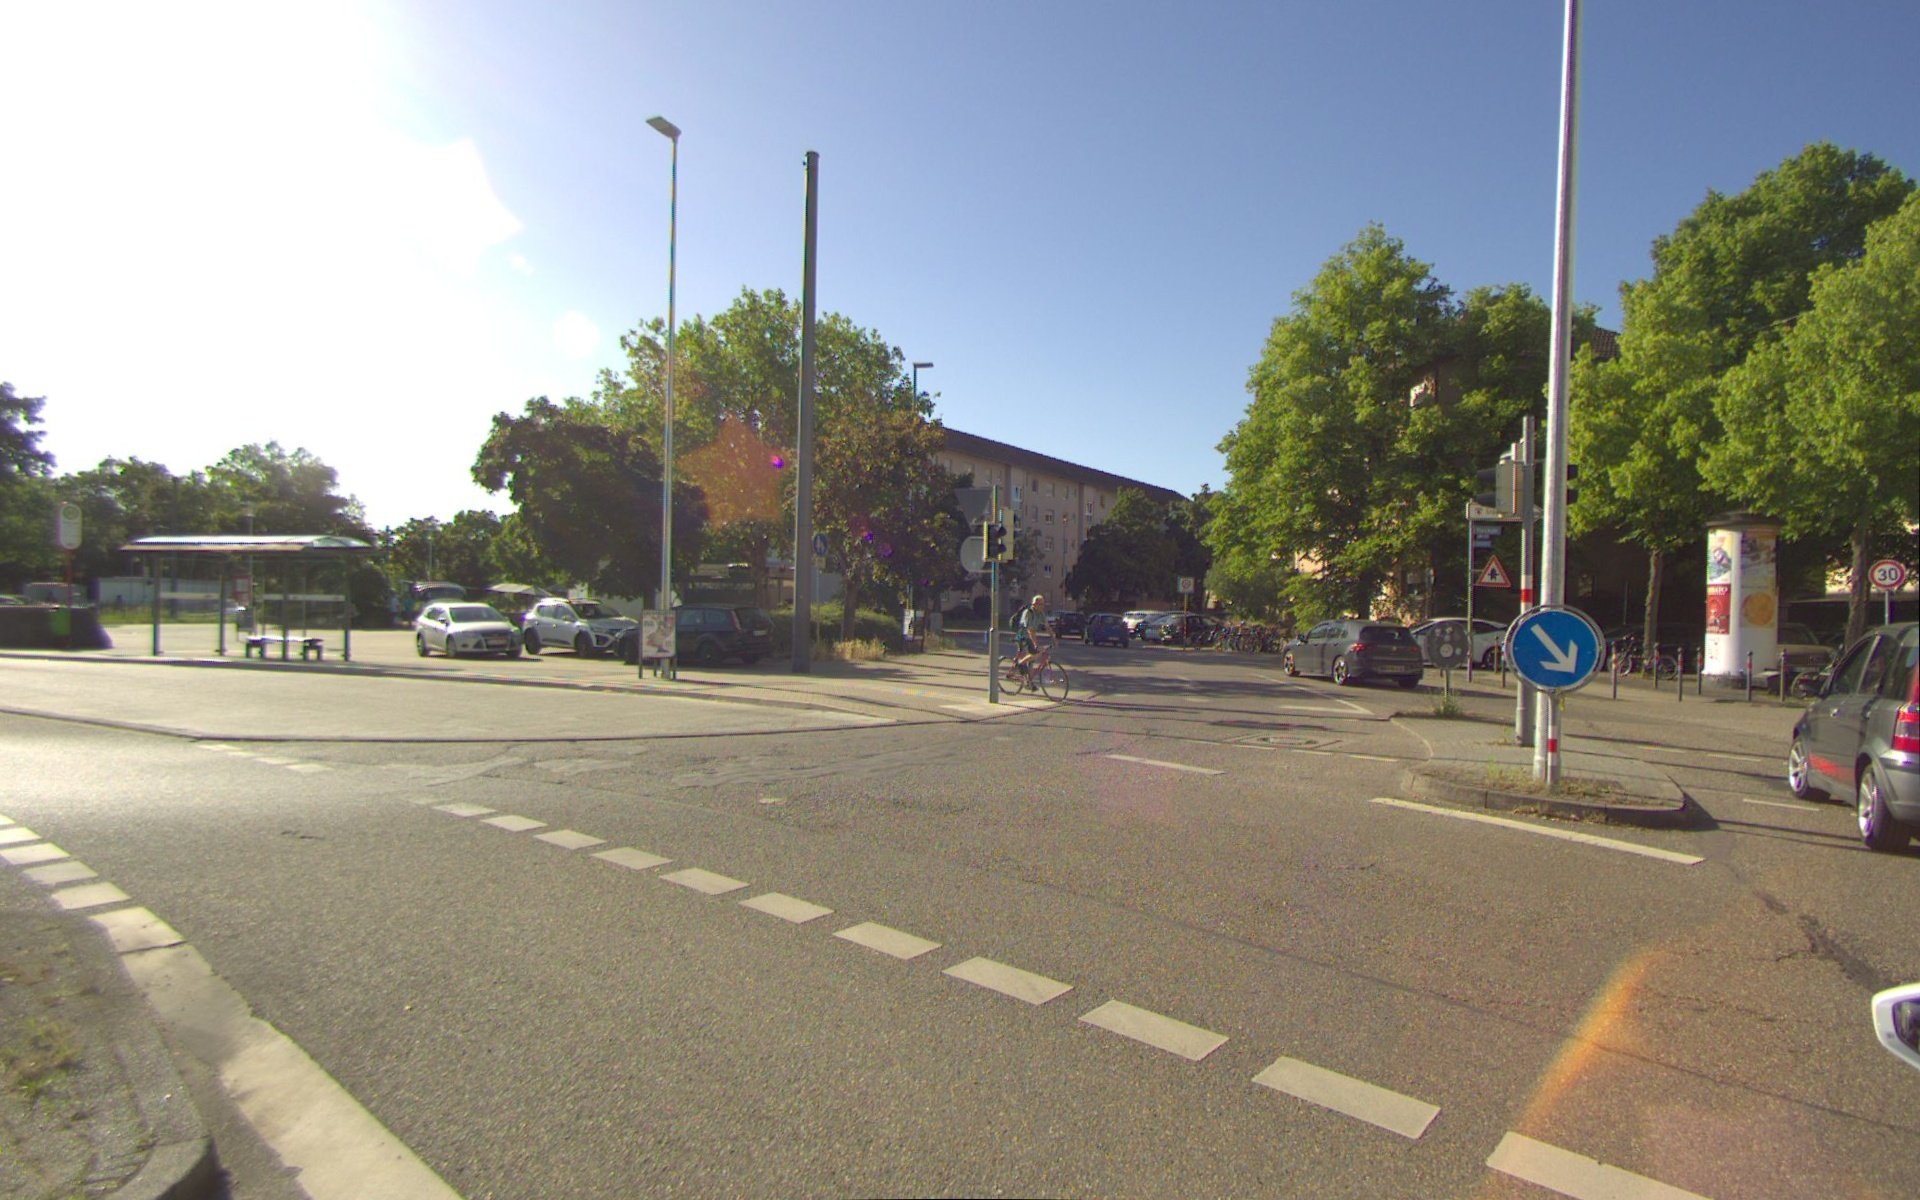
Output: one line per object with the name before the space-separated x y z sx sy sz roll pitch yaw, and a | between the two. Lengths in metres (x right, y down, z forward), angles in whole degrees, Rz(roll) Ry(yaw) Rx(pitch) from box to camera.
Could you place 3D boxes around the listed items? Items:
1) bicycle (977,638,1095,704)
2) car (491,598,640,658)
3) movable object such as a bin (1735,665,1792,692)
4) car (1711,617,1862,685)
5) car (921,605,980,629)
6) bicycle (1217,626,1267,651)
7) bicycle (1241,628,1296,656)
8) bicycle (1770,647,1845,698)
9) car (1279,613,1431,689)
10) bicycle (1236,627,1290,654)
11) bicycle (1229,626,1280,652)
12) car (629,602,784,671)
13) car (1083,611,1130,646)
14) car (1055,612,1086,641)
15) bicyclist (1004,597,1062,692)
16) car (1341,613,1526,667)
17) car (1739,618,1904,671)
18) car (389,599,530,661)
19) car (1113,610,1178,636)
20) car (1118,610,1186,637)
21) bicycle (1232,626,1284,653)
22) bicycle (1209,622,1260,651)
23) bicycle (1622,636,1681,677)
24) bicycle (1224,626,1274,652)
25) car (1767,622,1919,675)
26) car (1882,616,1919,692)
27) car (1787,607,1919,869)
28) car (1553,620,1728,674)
bicycle | 1.282 1.190 17.239 1.919 0.999 0.824 0 -1 44
car | -11.347 0.771 28.904 3.925 1.601 1.798 1 -1 26
movable object such as a bin | 18.859 1.837 23.574 1.097 0.572 0.575 1 0 -21
car | 21.765 1.288 26.664 1.885 1.632 4.000 1 -1 21
car | -0.756 1.359 79.831 4.354 1.822 2.061 0 -1 36
bicycle | 11.765 1.602 41.896 1.997 1.045 0.448 1 0 -9
bicycle | 11.946 1.621 38.929 1.997 1.044 0.570 1 0 -9
bicycle | 18.776 1.610 22.259 1.564 1.086 0.353 1 0 -11
car | 8.874 1.095 22.906 1.652 1.528 3.754 1 0 -7
bicycle | 11.967 1.599 39.646 1.997 1.044 0.570 1 0 -9
bicycle | 11.942 1.592 40.711 1.997 1.045 0.448 1 0 -9
car | -6.292 0.856 24.902 3.530 1.528 1.681 1 2 28
car | 6.748 1.302 46.594 1.650 1.528 3.596 1 0 0
car | 6.163 1.433 56.041 1.650 1.528 3.598 1 0 6
bicyclist | 1.253 0.750 17.283 0.587 1.585 0.823 0 -1 43
car | 14.976 1.252 32.012 4.935 1.539 1.925 1 0 6
car | 29.267 1.507 34.211 4.164 1.662 1.759 1 0 -2
car | -13.595 0.776 27.267 3.530 1.528 1.681 1 0 28
car | 11.142 1.353 60.358 3.544 1.501 1.611 1 -1 -25
car | 10.994 1.360 57.393 3.544 1.501 1.611 1 -1 -25
bicycle | 11.932 1.584 40.210 1.997 1.045 0.468 1 0 -9
bicycle | 11.633 1.541 42.572 1.997 1.192 0.667 1 -1 -9
bicycle | 19.160 1.564 27.839 1.564 1.086 0.353 1 0 -11
bicycle | 11.889 1.589 41.312 1.997 1.045 0.448 1 0 -9
car | 27.423 1.486 30.986 3.876 1.506 1.757 1 0 -7
car | 23.563 1.310 23.610 1.804 1.694 4.328 1 2 29
car | 7.135 0.869 7.137 1.594 1.582 3.248 1 -1 34
car | 21.310 1.437 31.583 4.215 1.539 1.909 1 0 0
